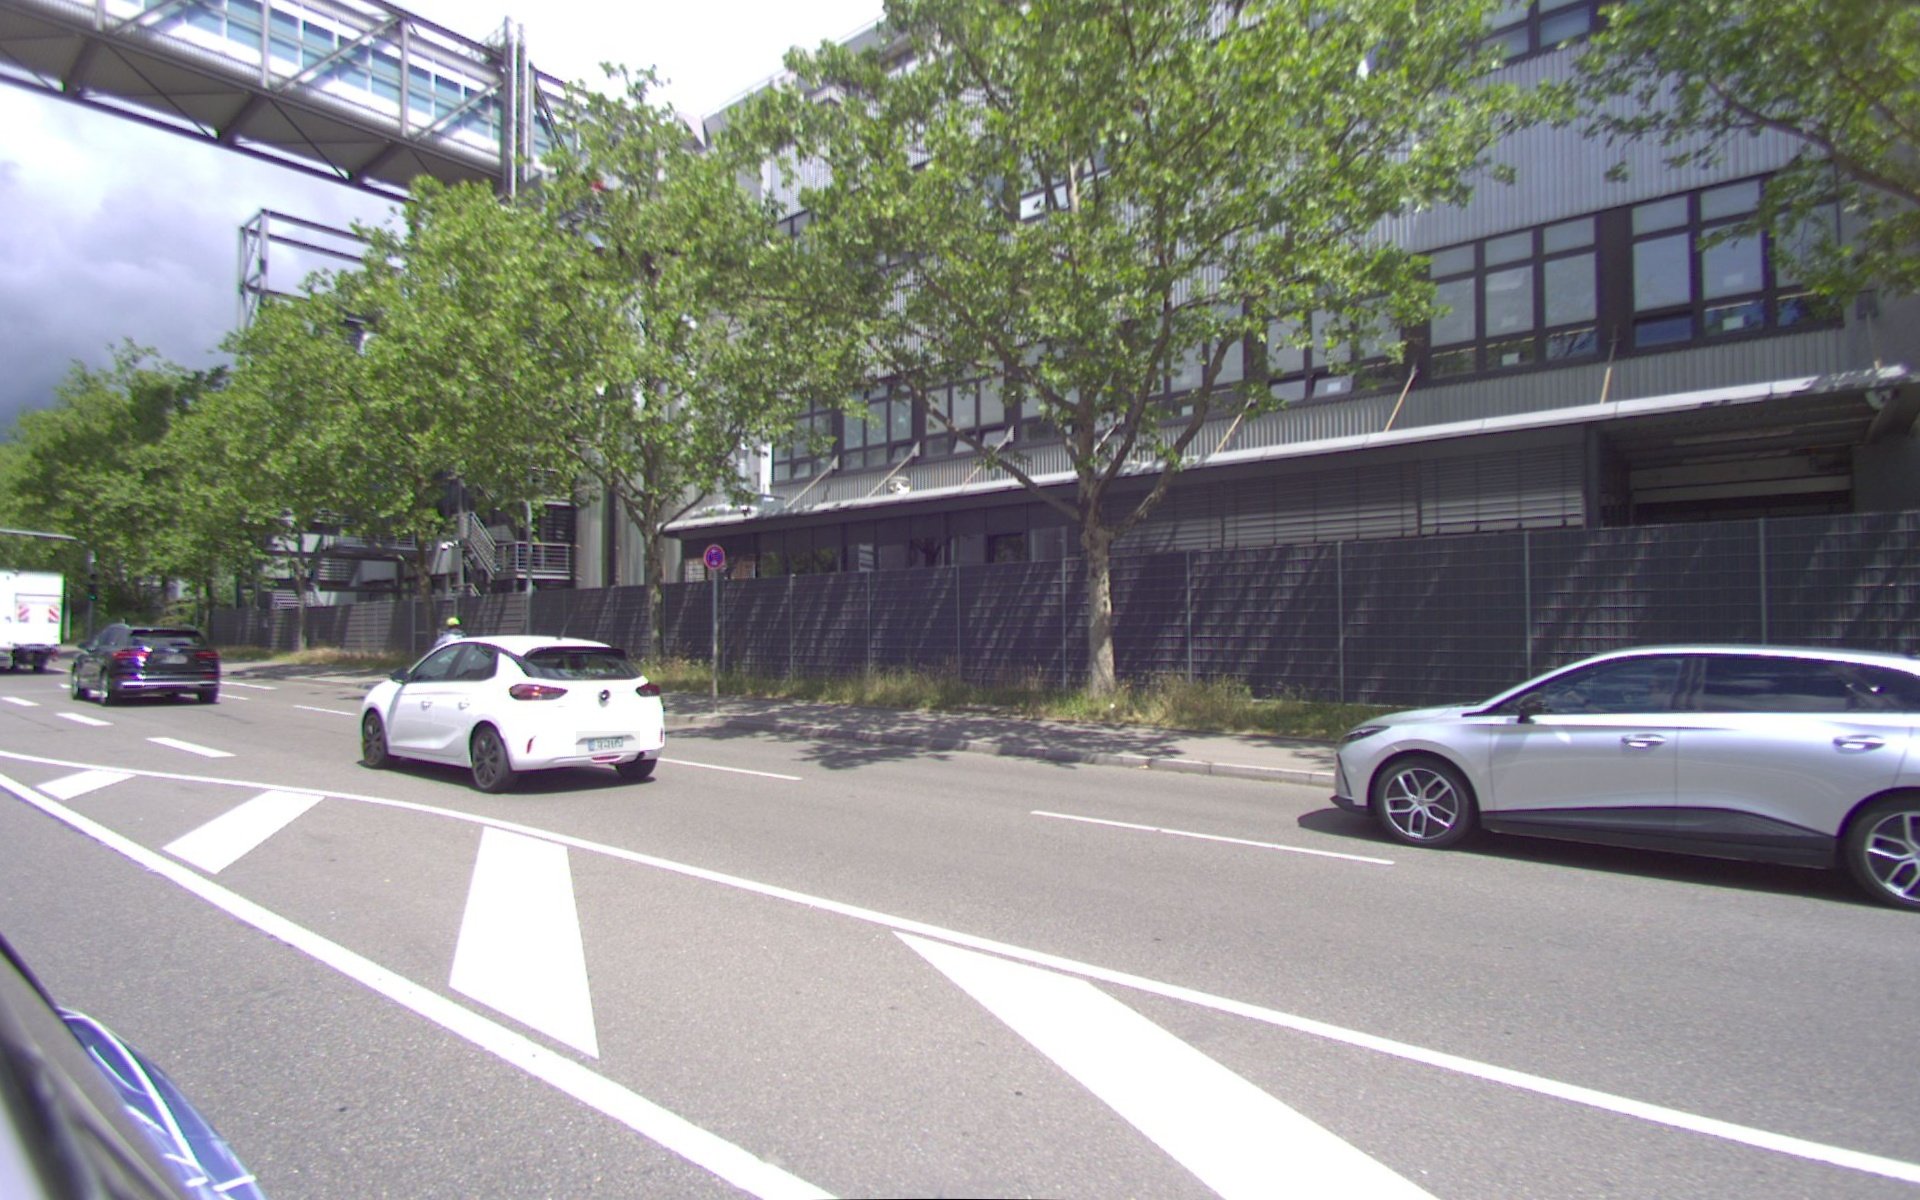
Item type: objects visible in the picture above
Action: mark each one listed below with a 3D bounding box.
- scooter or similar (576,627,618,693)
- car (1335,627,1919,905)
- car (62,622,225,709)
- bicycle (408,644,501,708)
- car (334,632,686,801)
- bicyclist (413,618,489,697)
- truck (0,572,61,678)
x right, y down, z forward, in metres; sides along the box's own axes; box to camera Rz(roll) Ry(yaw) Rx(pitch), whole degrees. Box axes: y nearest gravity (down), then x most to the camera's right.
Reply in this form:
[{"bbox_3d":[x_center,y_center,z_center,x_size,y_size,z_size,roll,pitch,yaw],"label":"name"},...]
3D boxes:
[{"bbox_3d":[-8.164,1.331,22.759,1.234,1.414,0.300,-1,0,39],"label":"scooter or similar"},{"bbox_3d":[5.014,0.976,6.980,4.188,1.517,1.859,-2,-4,40],"label":"car"},{"bbox_3d":[-16.703,1.269,20.641,4.263,1.593,1.722,-1,-4,40],"label":"car"},{"bbox_3d":[-10.692,1.571,21.353,2.470,1.244,0.729,-1,-3,38],"label":"bicycle"},{"bbox_3d":[-4.826,1.072,10.602,4.141,1.426,1.674,-1,-4,40],"label":"car"},{"bbox_3d":[-10.782,1.208,21.439,1.221,1.610,0.947,-1,-3,36],"label":"bicyclist"},{"bbox_3d":[-31.245,0.781,32.679,7.241,3.153,2.426,-1,-2,42],"label":"truck"}]
